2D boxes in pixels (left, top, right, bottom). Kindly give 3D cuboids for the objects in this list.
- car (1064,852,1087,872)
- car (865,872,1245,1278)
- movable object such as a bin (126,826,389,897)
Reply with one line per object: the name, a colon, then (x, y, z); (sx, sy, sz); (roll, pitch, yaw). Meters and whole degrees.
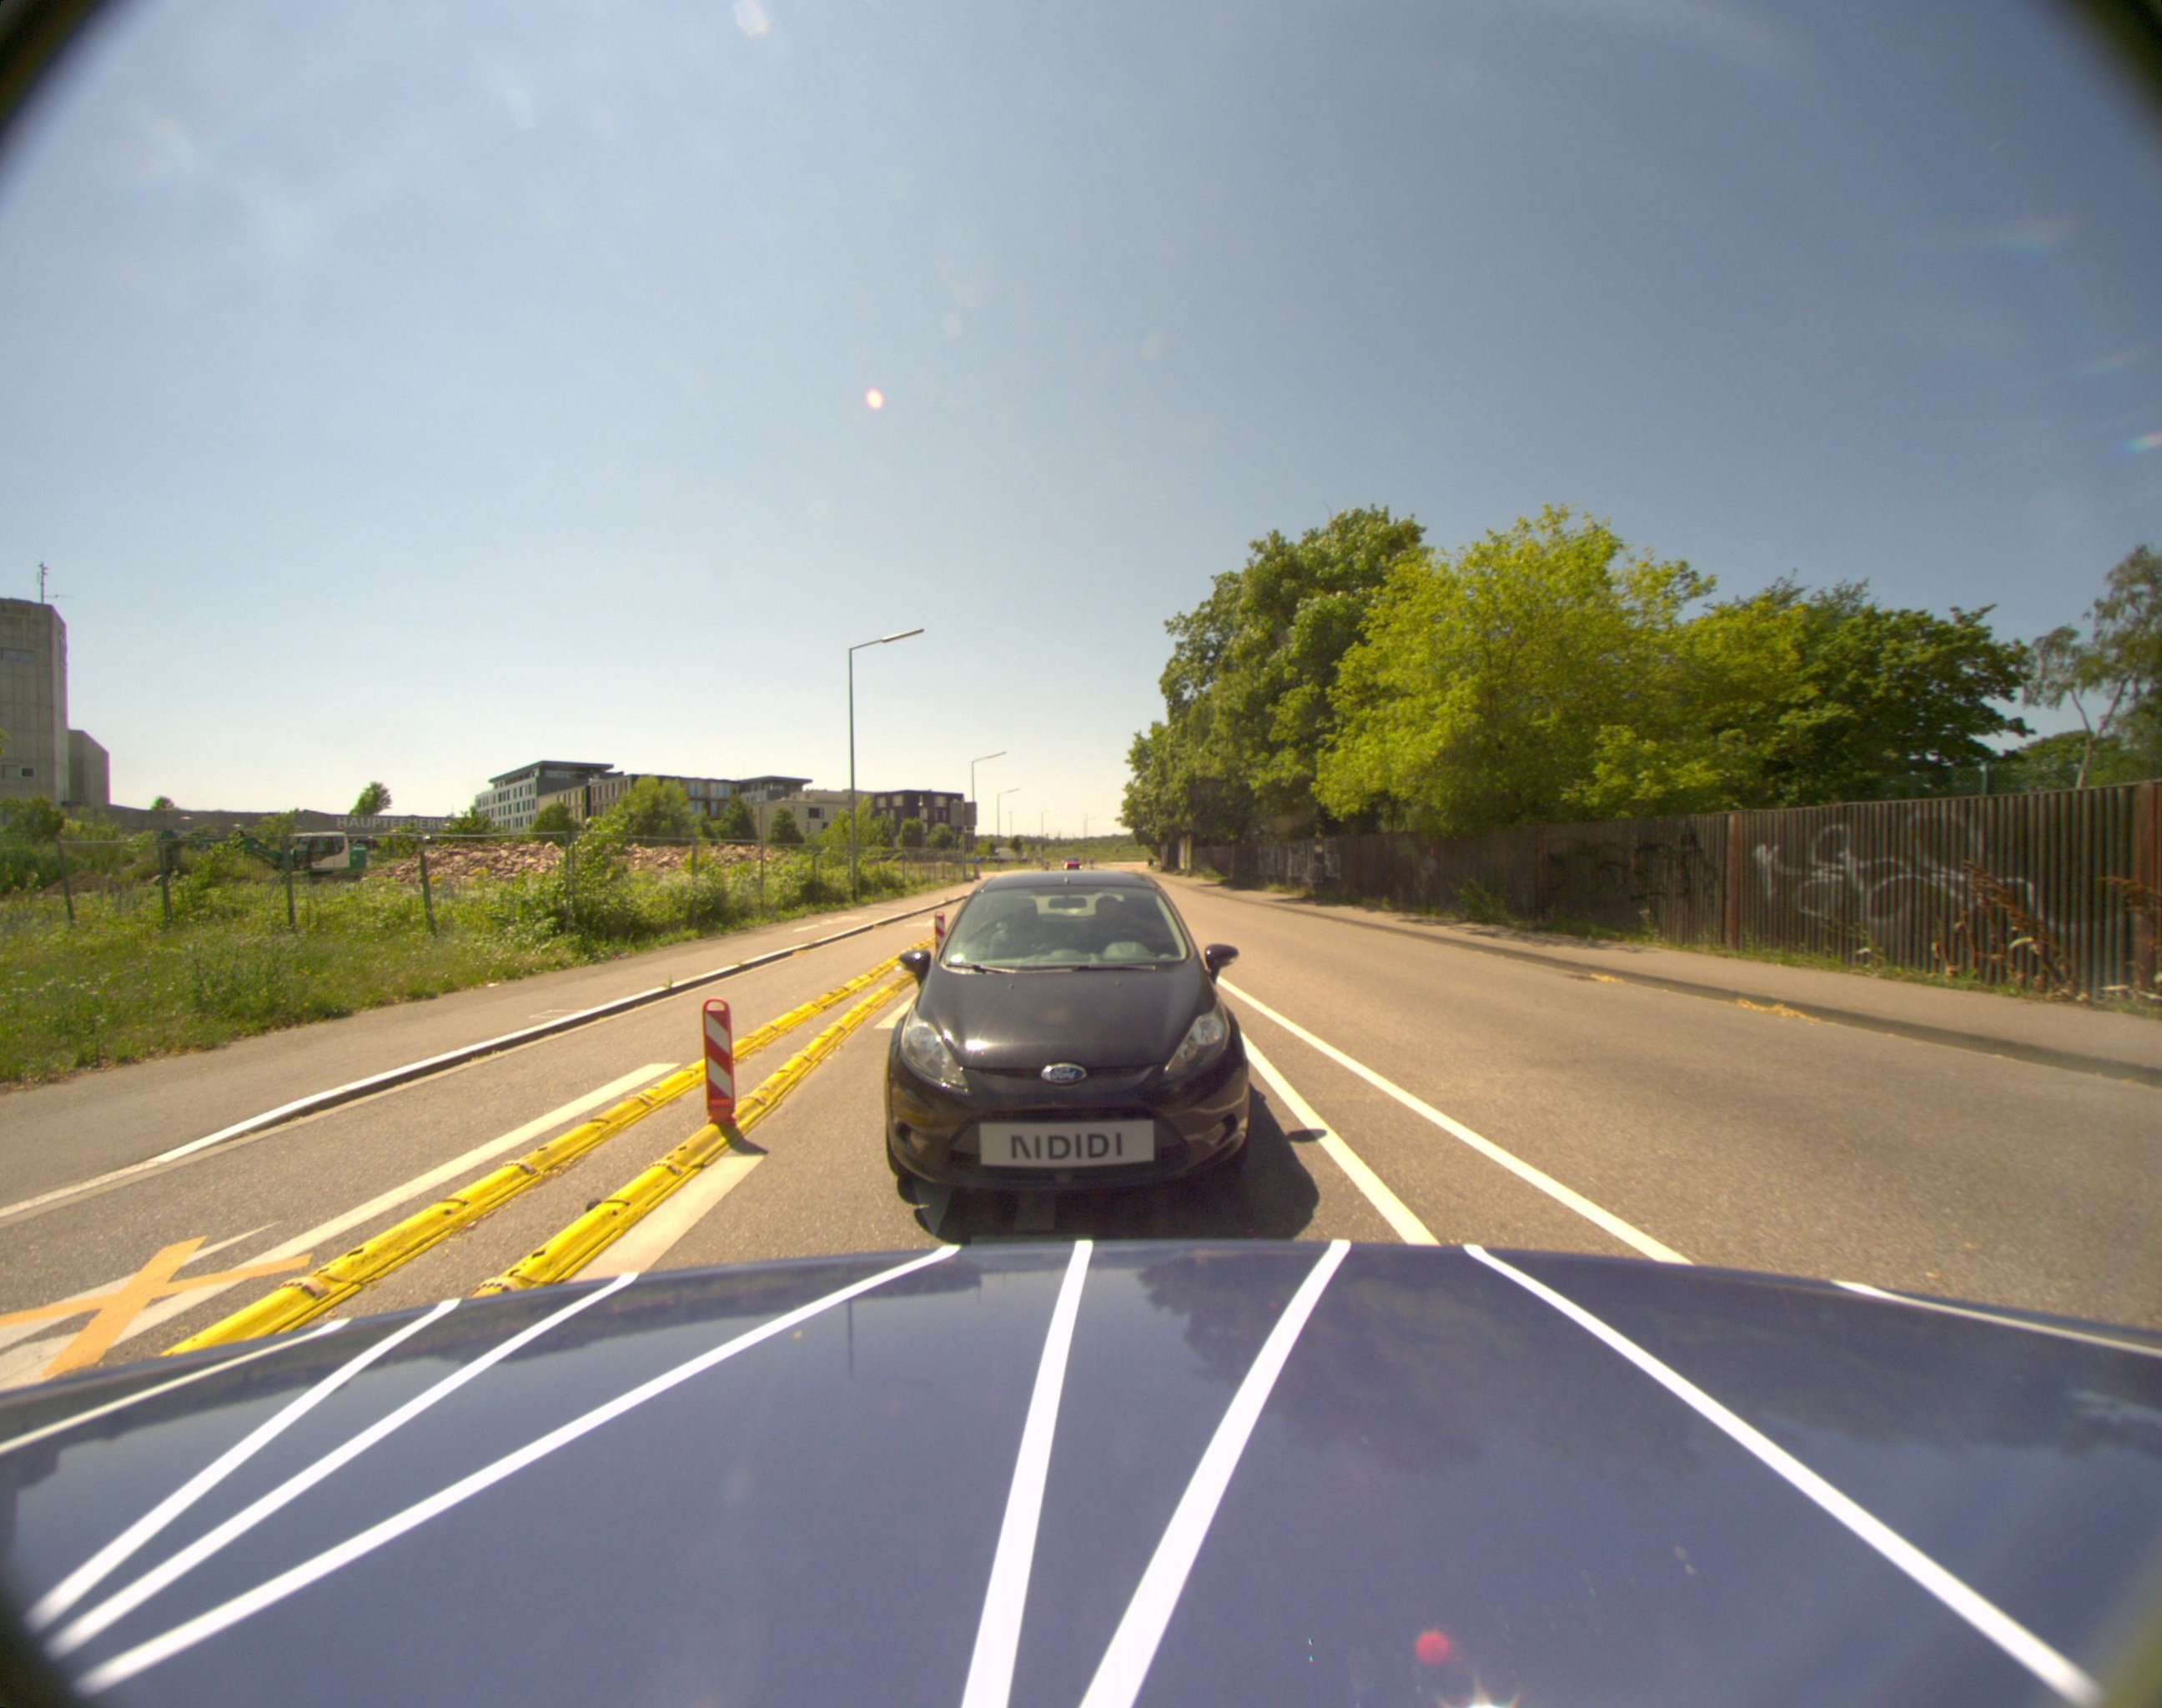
car: (-0.485, 0.715, 71.453); (1.924, 1.643, 4.668); (-2, 1, 1)
car: (-0.079, 0.974, 5.169); (1.528, 1.510, 3.999); (-2, 1, 1)
movable object such as a bin: (-38.368, 0.262, 35.926); (3.231, 2.899, 7.702); (-2, 1, 15)
